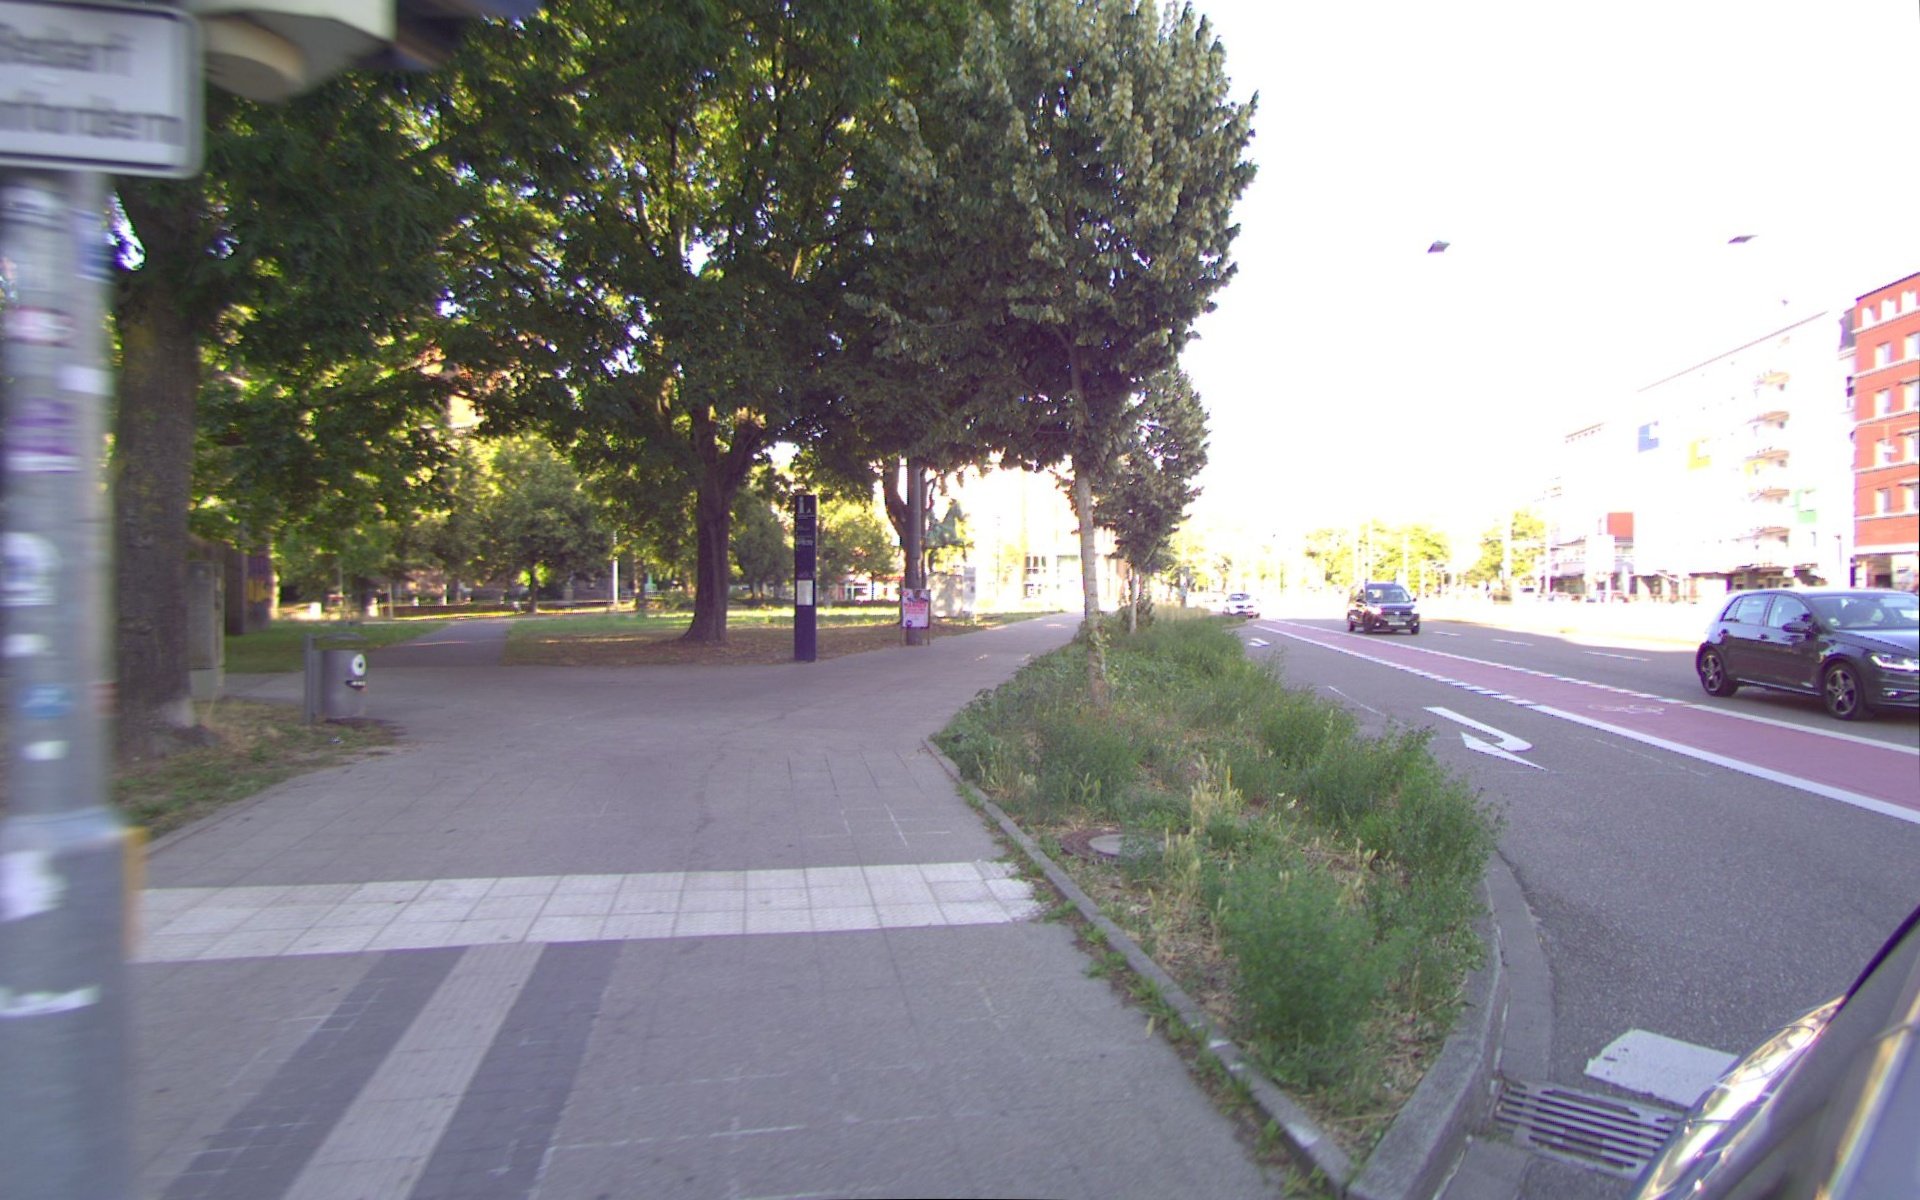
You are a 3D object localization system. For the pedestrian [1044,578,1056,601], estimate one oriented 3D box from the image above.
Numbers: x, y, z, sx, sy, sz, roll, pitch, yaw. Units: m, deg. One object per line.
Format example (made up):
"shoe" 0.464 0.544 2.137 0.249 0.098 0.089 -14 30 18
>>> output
"pedestrian" 6.874 -0.795 77.333 0.731 1.671 0.911 3 0 15

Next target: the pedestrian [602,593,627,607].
"pedestrian" -26.156 0.002 76.617 1.367 1.007 1.274 0 0 22

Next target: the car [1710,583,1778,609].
"car" 56.328 -0.297 72.824 1.969 1.820 4.725 0 0 12

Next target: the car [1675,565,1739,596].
"car" 53.703 -1.403 72.850 1.928 2.161 4.558 0 0 11

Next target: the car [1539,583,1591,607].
"car" 46.826 -0.407 78.471 1.969 1.820 4.876 0 0 12

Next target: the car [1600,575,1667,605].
"car" 43.726 -0.645 65.807 1.970 1.842 4.959 0 0 13

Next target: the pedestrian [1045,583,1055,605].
"pedestrian" 6.959 -0.471 78.410 0.591 1.710 0.778 2 0 15

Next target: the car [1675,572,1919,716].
"car" 10.707 0.424 12.162 1.742 1.444 4.233 -1 0 10

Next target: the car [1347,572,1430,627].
"car" 14.616 -0.043 34.743 1.742 1.754 4.135 -1 0 10

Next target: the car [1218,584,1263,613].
"car" 16.410 -0.120 59.425 1.803 1.556 4.272 -3 0 6

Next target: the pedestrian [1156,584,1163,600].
"pedestrian" 21.509 -0.885 109.172 0.642 1.746 0.712 0 0 13

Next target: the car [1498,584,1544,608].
"car" 48.281 -0.349 87.155 1.968 2.039 4.761 0 1 10
